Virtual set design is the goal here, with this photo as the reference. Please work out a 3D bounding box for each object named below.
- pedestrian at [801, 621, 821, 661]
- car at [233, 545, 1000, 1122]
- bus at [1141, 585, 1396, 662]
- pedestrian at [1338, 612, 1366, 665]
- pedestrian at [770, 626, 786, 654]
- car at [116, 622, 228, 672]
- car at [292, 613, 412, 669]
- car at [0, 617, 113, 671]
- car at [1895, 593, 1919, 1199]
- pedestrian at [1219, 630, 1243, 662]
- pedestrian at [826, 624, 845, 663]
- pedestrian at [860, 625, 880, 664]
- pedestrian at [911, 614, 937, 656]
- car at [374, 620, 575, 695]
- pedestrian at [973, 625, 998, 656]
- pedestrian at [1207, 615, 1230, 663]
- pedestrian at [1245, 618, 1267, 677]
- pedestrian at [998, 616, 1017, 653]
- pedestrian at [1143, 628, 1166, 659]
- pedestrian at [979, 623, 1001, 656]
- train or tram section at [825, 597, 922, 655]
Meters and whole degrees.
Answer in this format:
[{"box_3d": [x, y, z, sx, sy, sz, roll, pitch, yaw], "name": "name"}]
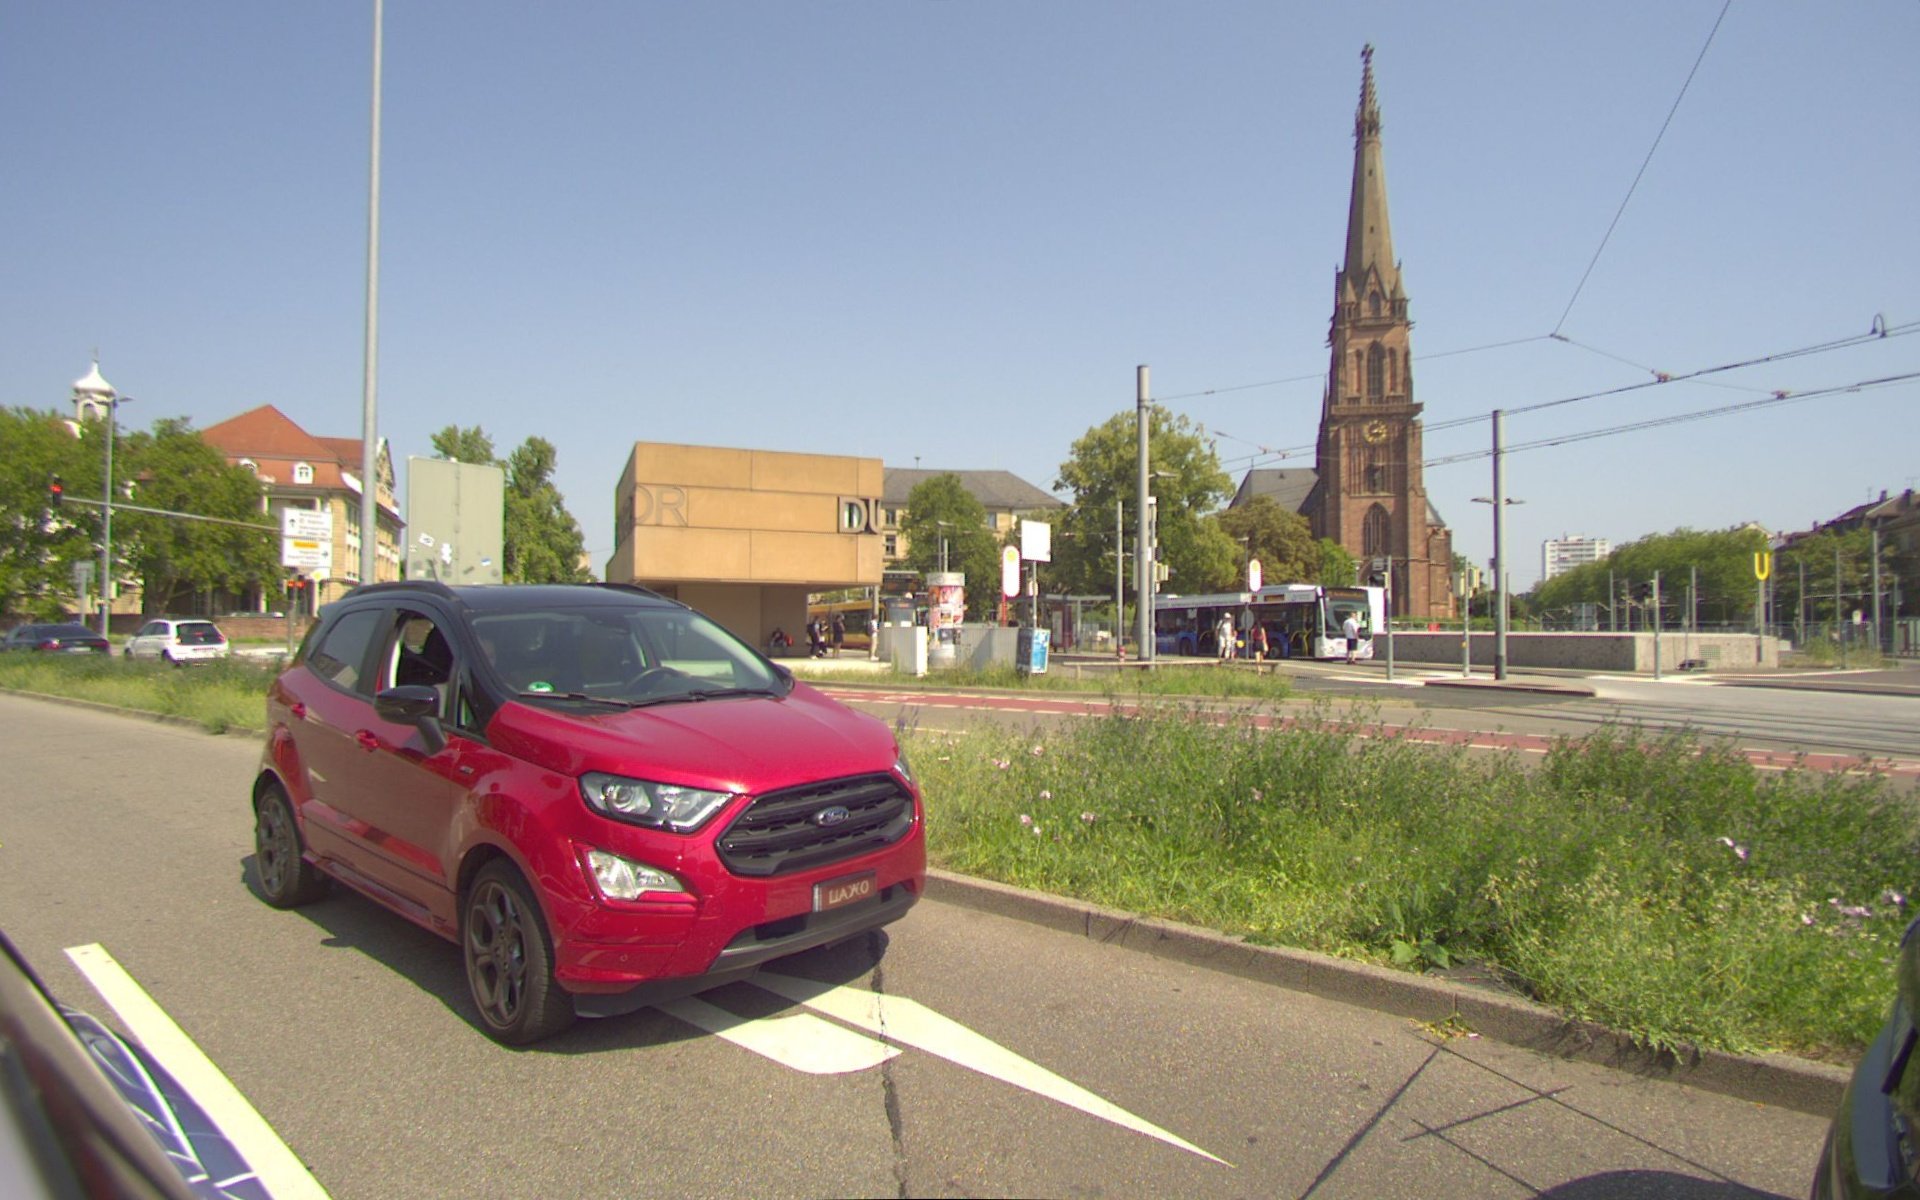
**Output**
[{"box_3d": [-5.708, 1.559, 38.879, 0.541, 1.508, 0.532, -1, -3, 39], "name": "pedestrian"}, {"box_3d": [-1.839, 0.679, 4.712, 3.842, 1.598, 1.672, -1, -1, 41], "name": "car"}, {"box_3d": [12.284, 1.048, 42.457, 3.346, 2.733, 12.382, 1, -2, -21], "name": "bus"}, {"box_3d": [13.603, 1.322, 35.121, 0.592, 1.825, 0.640, -1, 0, -35], "name": "pedestrian"}, {"box_3d": [-7.272, 1.609, 40.473, 0.530, 1.108, 0.543, 1, -2, -18], "name": "pedestrian"}, {"box_3d": [-24.798, 1.447, 31.826, 3.462, 1.490, 1.512, -1, -2, 29], "name": "car"}, {"box_3d": [-21.172, 1.389, 35.228, 3.898, 1.868, 1.851, 0, -2, 29], "name": "car"}, {"box_3d": [-25.519, 1.232, 28.526, 3.466, 1.437, 1.510, -1, -2, 32], "name": "car"}, {"box_3d": [2.885, 0.652, 0.274, 1.745, 1.398, 3.783, 0, -1, -45], "name": "car"}, {"box_3d": [9.914, 1.669, 37.067, 0.627, 1.134, 0.603, -1, 0, -15], "name": "pedestrian"}, {"box_3d": [-4.878, 1.716, 39.678, 0.541, 1.508, 0.532, -1, -3, 39], "name": "pedestrian"}, {"box_3d": [-3.532, 1.736, 39.750, 0.541, 1.508, 0.532, -1, -3, 39], "name": "pedestrian"}, {"box_3d": [-1.303, 1.280, 36.784, 0.605, 1.508, 0.761, -1, -3, 39], "name": "pedestrian"}, {"box_3d": [-11.380, 1.291, 23.638, 4.698, 1.597, 1.979, -1, -2, 31], "name": "car"}, {"box_3d": [1.383, 2.217, 55.827, 1.060, 1.709, 1.068, 1, -2, -21], "name": "pedestrian"}, {"box_3d": [9.373, 1.416, 36.693, 0.527, 1.724, 0.695, 1, -2, -14], "name": "pedestrian"}, {"box_3d": [9.370, 1.503, 32.014, 0.632, 1.825, 0.599, -1, 0, 15], "name": "pedestrian"}, {"box_3d": [2.406, 1.747, 51.511, 0.792, 1.837, 0.535, 1, -2, -21], "name": "pedestrian"}, {"box_3d": [10.794, 2.404, 56.150, 0.832, 1.709, 0.961, 1, -2, -21], "name": "pedestrian"}, {"box_3d": [1.642, 2.182, 55.836, 0.913, 1.837, 0.940, 1, -2, -21], "name": "pedestrian"}, {"box_3d": [-5.997, 1.768, 66.891, 2.658, 3.465, 13.464, 1, -2, -21], "name": "train or tram section"}]
